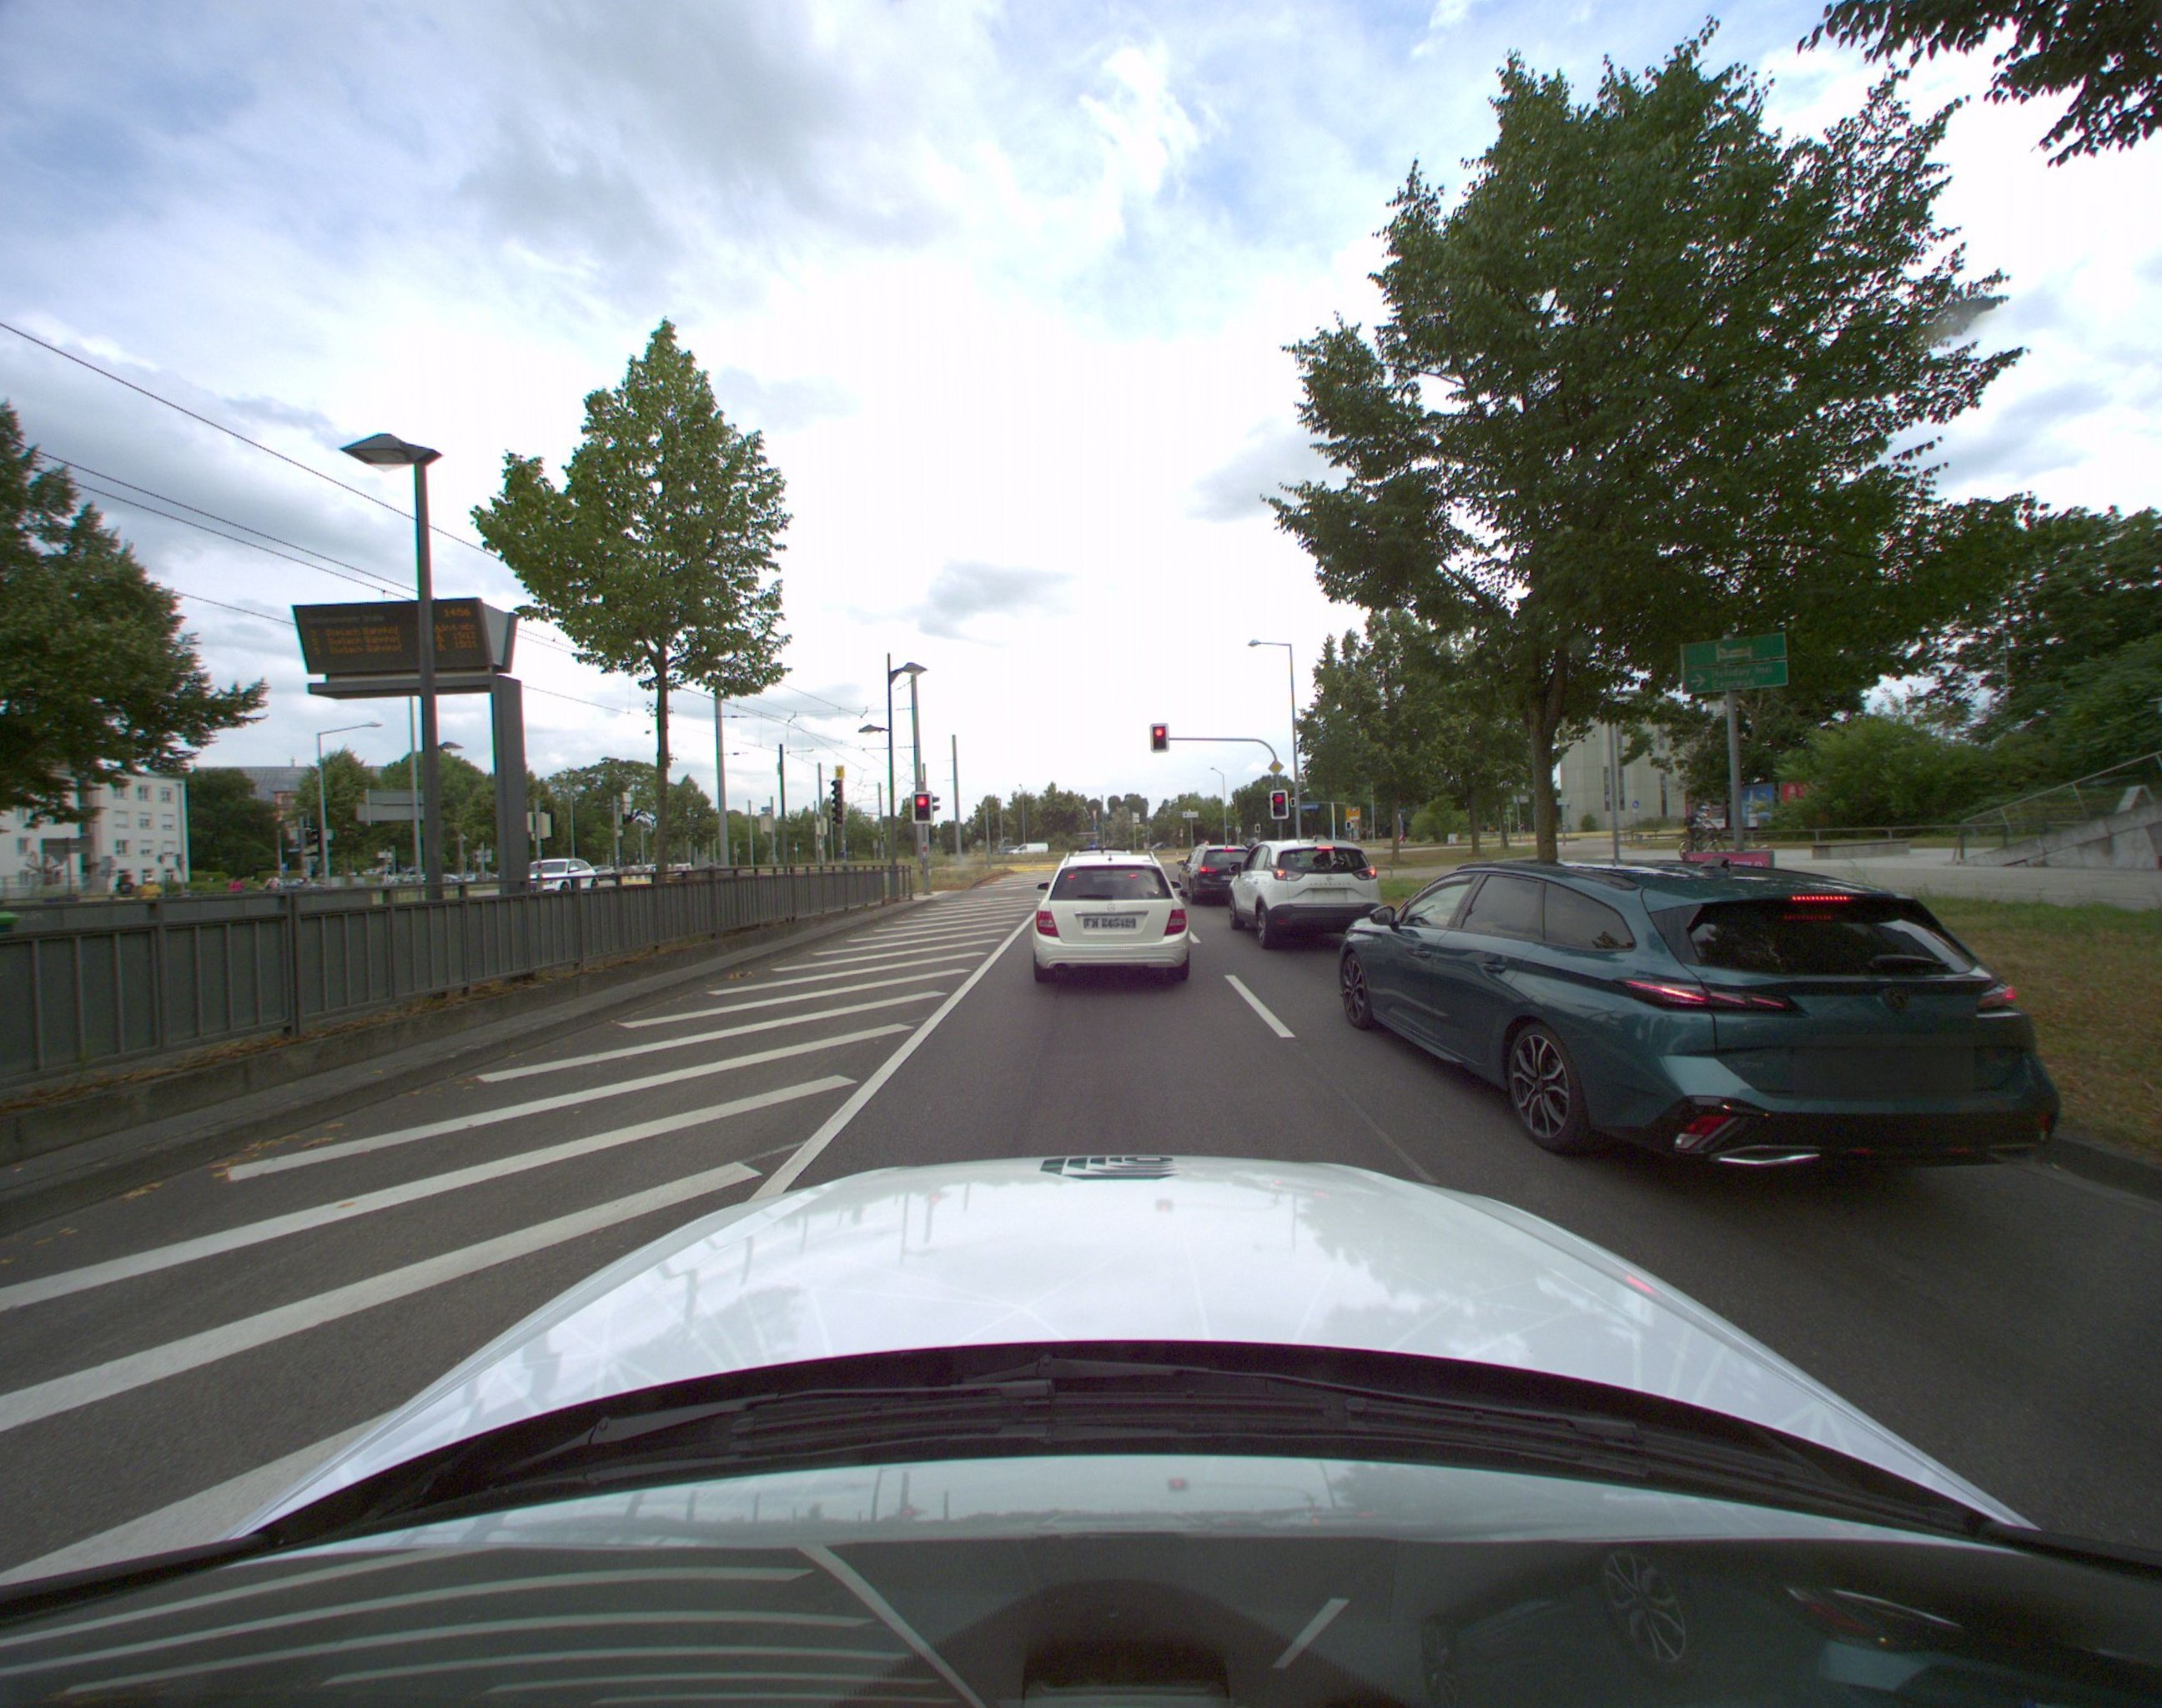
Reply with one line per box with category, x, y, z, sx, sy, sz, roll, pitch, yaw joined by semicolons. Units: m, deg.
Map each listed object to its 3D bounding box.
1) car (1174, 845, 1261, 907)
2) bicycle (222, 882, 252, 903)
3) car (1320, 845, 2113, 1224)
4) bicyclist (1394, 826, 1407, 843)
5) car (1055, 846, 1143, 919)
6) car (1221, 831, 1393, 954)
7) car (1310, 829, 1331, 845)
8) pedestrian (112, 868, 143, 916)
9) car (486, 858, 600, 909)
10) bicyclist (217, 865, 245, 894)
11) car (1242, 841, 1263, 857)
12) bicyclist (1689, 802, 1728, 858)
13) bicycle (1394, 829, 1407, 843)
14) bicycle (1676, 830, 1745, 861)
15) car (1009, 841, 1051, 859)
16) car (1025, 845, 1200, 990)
car;3.462;0.499;21.255;1.619;1.448;3.910;-1;0;0
bicycle;-47.943;2.170;46.262;0.813;1.129;2.676;-3;1;-39
car;3.140;0.676;5.340;1.782;1.432;4.308;-1;1;-1
bicyclist;35.000;-2.145;89.232;0.863;1.789;1.175;-2;0;0
car;0.366;0.555;18.340;1.768;1.448;3.910;-1;0;0
car;3.458;0.515;13.215;1.780;1.624;3.912;-2;0;2
car;26.019;-1.881;88.709;1.771;1.636;4.416;-2;1;12
pedestrian;-38.250;1.513;32.678;0.652;1.849;0.486;-2;1;-36
car;-19.798;1.023;30.242;1.995;1.618;4.367;-2;1;-12
bicyclist;-48.146;1.443;46.135;0.895;1.562;0.742;-2;1;-35
car;20.160;-0.591;95.715;1.978;1.791;4.018;0;0;18
bicyclist;21.711;-0.824;28.173;0.726;1.885;0.734;-2;0;-1
bicycle;35.020;-2.006;89.302;0.702;1.505;2.008;-2;1;2
bicycle;21.739;-0.301;28.133;1.927;0.984;0.564;-2;0;0
car;-6.329;-0.466;101.573;4.984;2.013;1.993;-2;1;-11
car;0.329;0.629;10.262;1.768;1.448;3.910;-1;0;0
